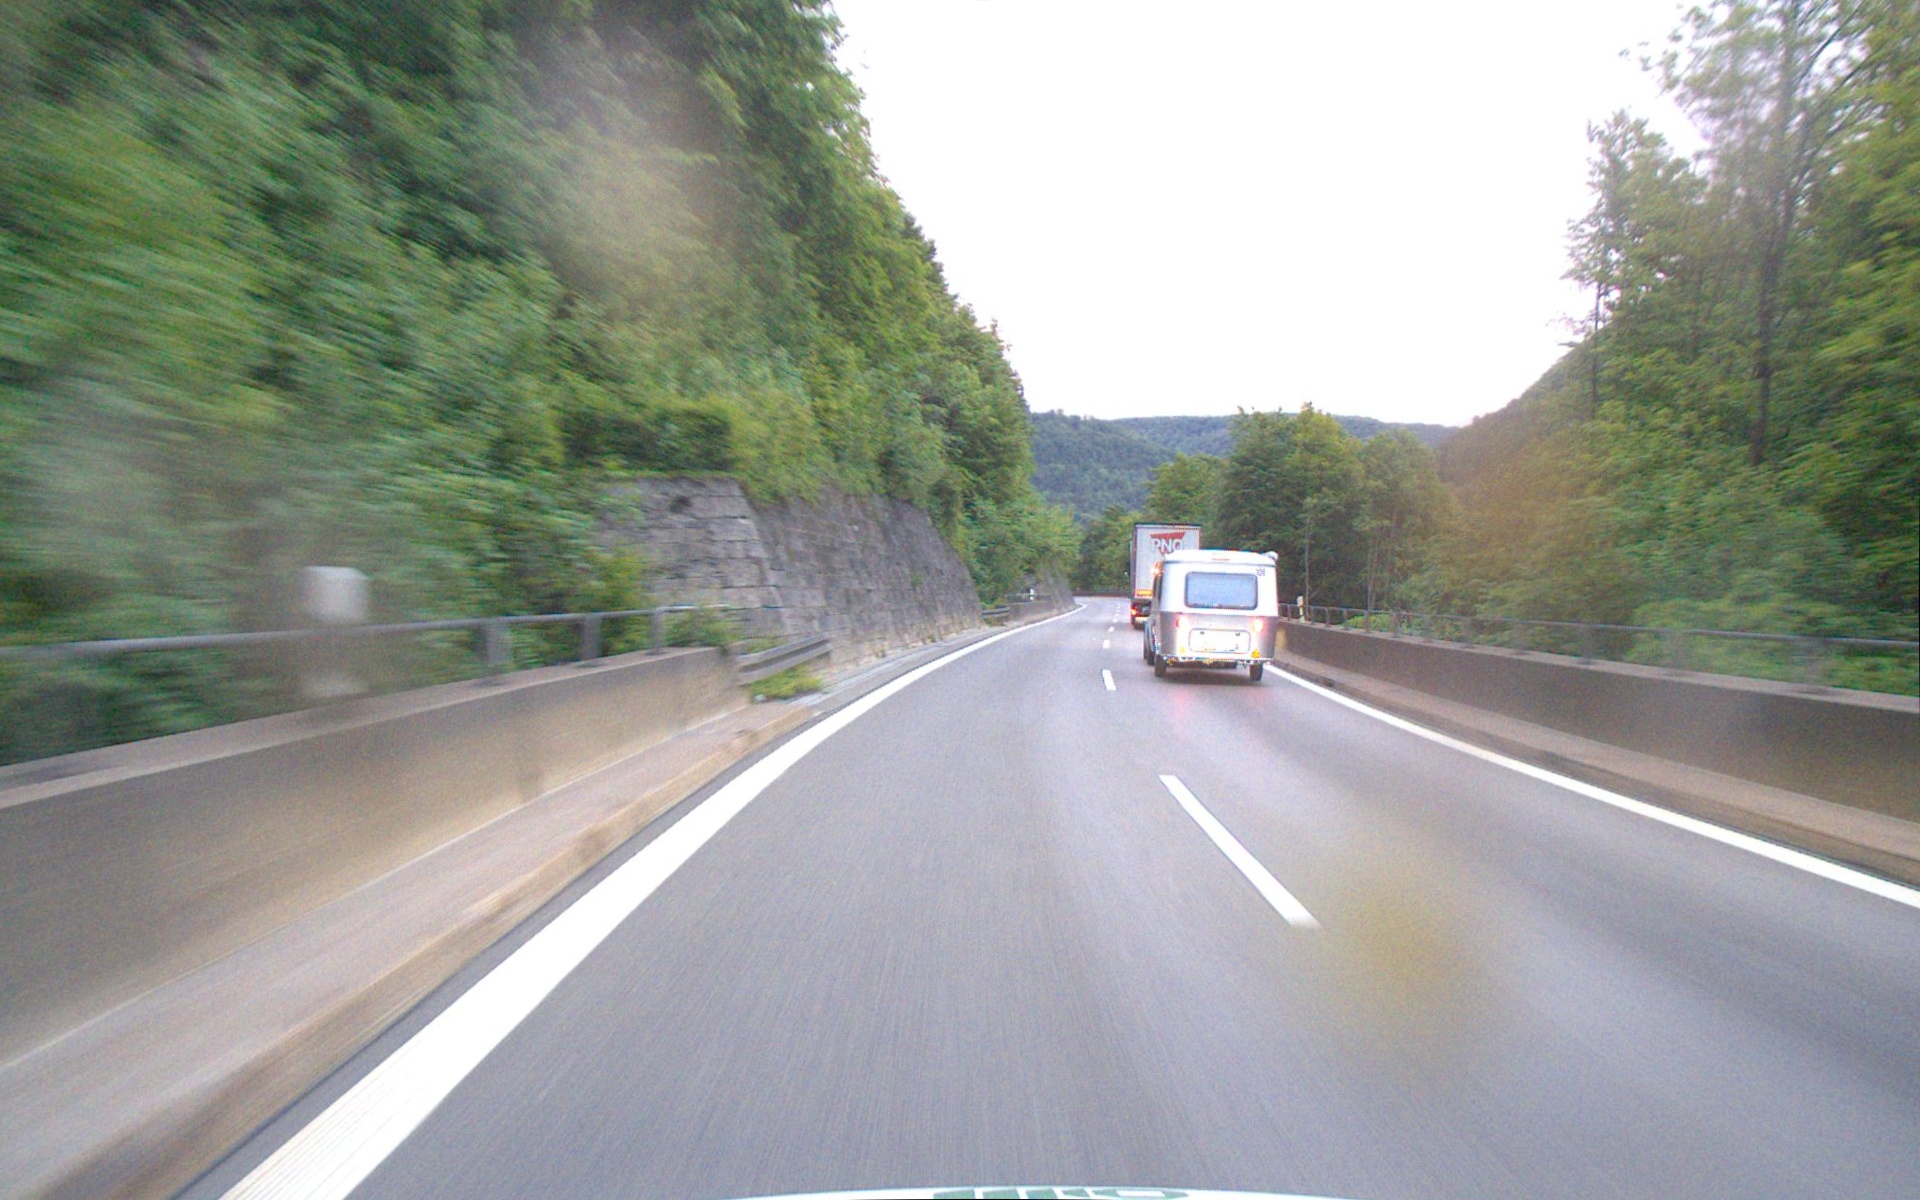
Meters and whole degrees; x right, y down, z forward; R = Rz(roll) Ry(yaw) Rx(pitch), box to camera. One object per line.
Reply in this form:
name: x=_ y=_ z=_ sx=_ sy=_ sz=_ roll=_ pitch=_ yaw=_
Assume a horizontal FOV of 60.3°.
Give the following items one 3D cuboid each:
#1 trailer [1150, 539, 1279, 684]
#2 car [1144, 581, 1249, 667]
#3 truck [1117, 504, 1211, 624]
trailer: x=4.605 y=0.168 z=30.679 sx=2.011 sy=2.416 sz=5.942 roll=0 pitch=0 yaw=6
car: x=5.020 y=0.475 z=35.696 sx=1.951 sy=1.642 sz=4.868 roll=3 pitch=0 yaw=5
truck: x=8.636 y=-1.374 z=70.115 sx=3.225 sy=4.245 sz=16.515 roll=-4 pitch=0 yaw=7
